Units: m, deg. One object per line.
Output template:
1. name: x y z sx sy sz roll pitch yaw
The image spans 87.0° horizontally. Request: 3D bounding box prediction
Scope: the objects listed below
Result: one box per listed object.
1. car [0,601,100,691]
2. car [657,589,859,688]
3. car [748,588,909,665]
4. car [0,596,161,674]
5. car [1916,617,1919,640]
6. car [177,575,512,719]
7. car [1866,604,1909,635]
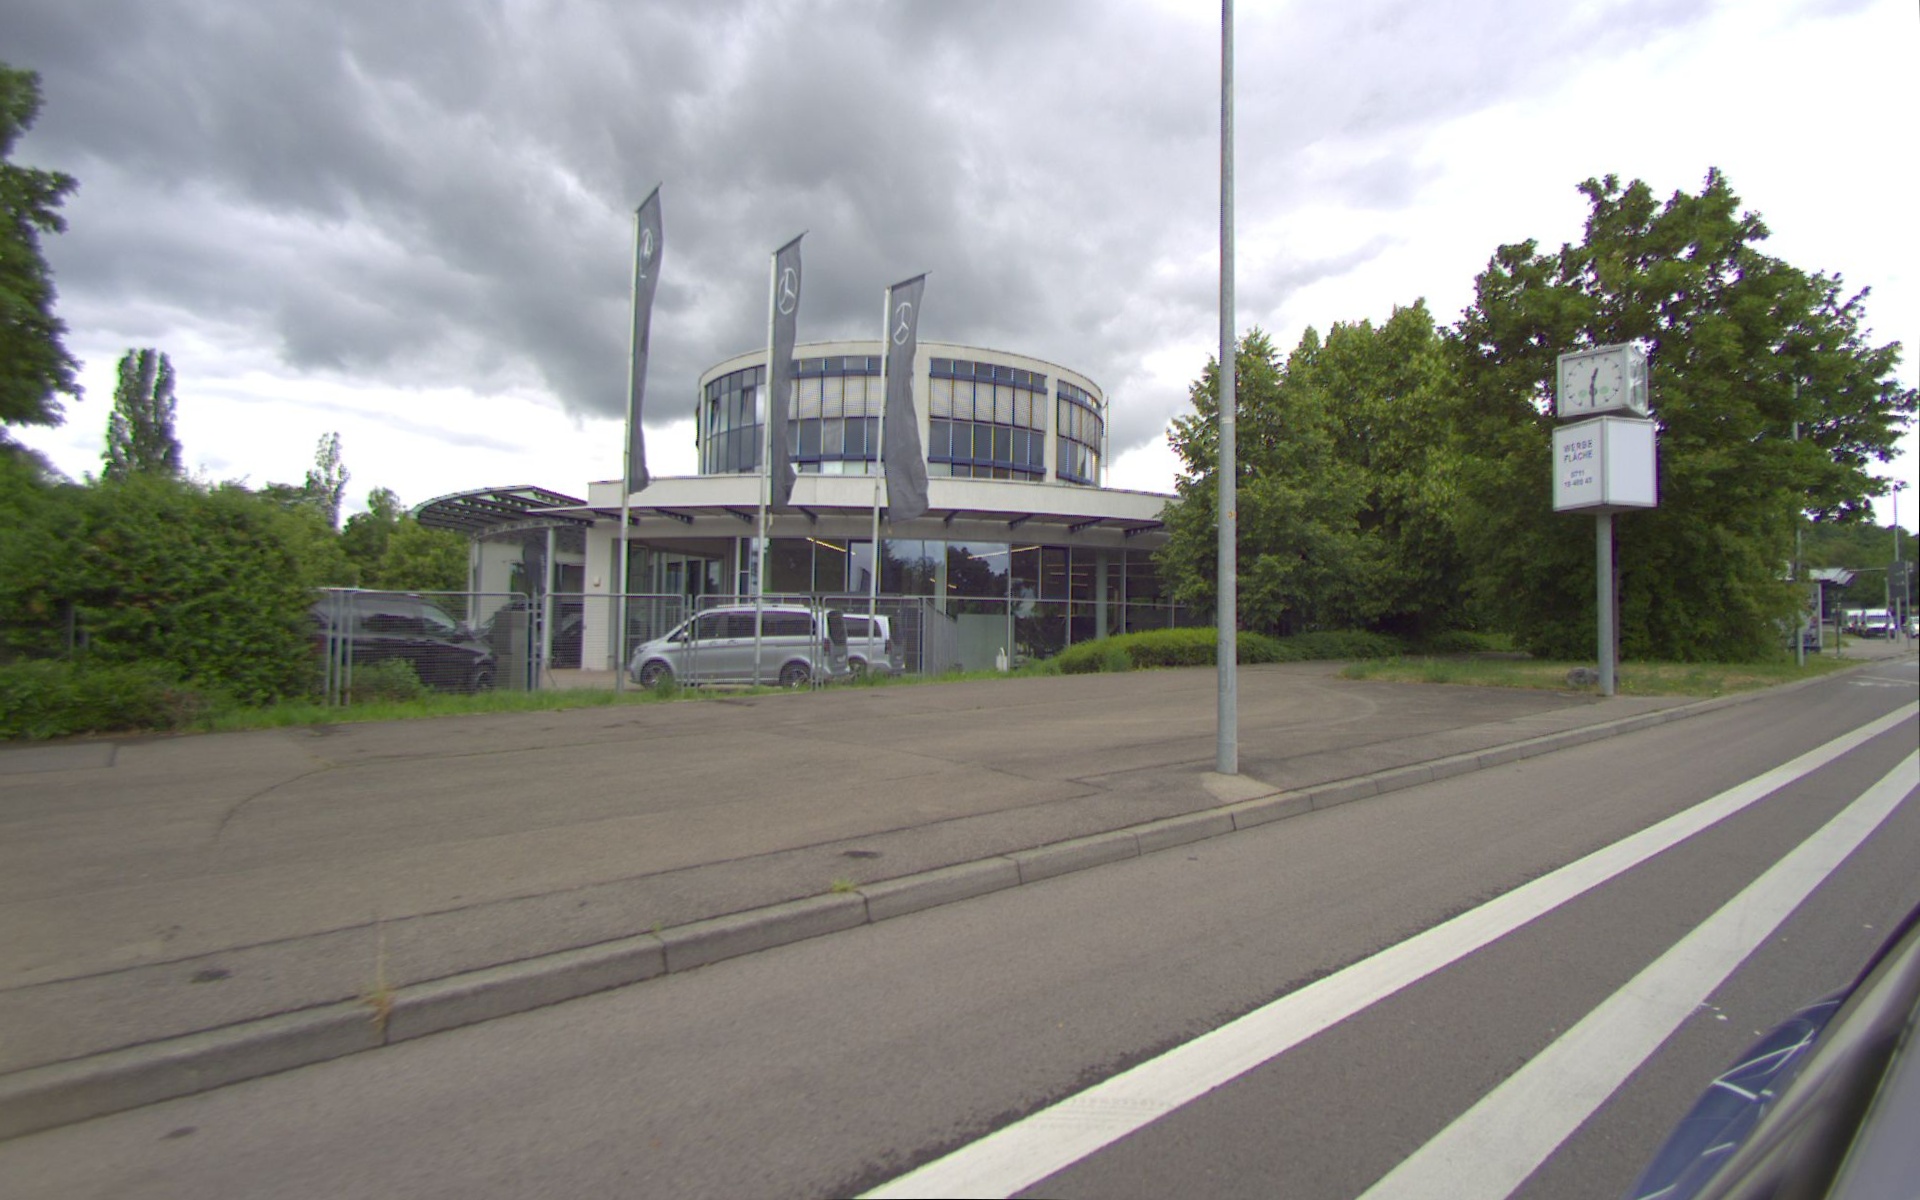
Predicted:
1. car: -19.636 0.905 20.138 1.614 1.779 3.555 -1 -1 32
2. car: -4.379 0.803 22.297 3.935 2.051 1.994 0 -1 10
3. car: -3.506 0.686 27.315 3.935 1.981 1.994 0 -1 10
4. car: -17.311 0.628 18.849 1.604 1.366 3.577 0 0 16
5. car: 86.266 2.489 89.696 2.113 2.017 4.907 -4 -4 44
6. car: -9.953 0.683 16.935 1.971 2.051 4.774 0 0 15
7. car: 83.704 1.779 91.417 2.215 2.693 5.880 -3 -3 37
